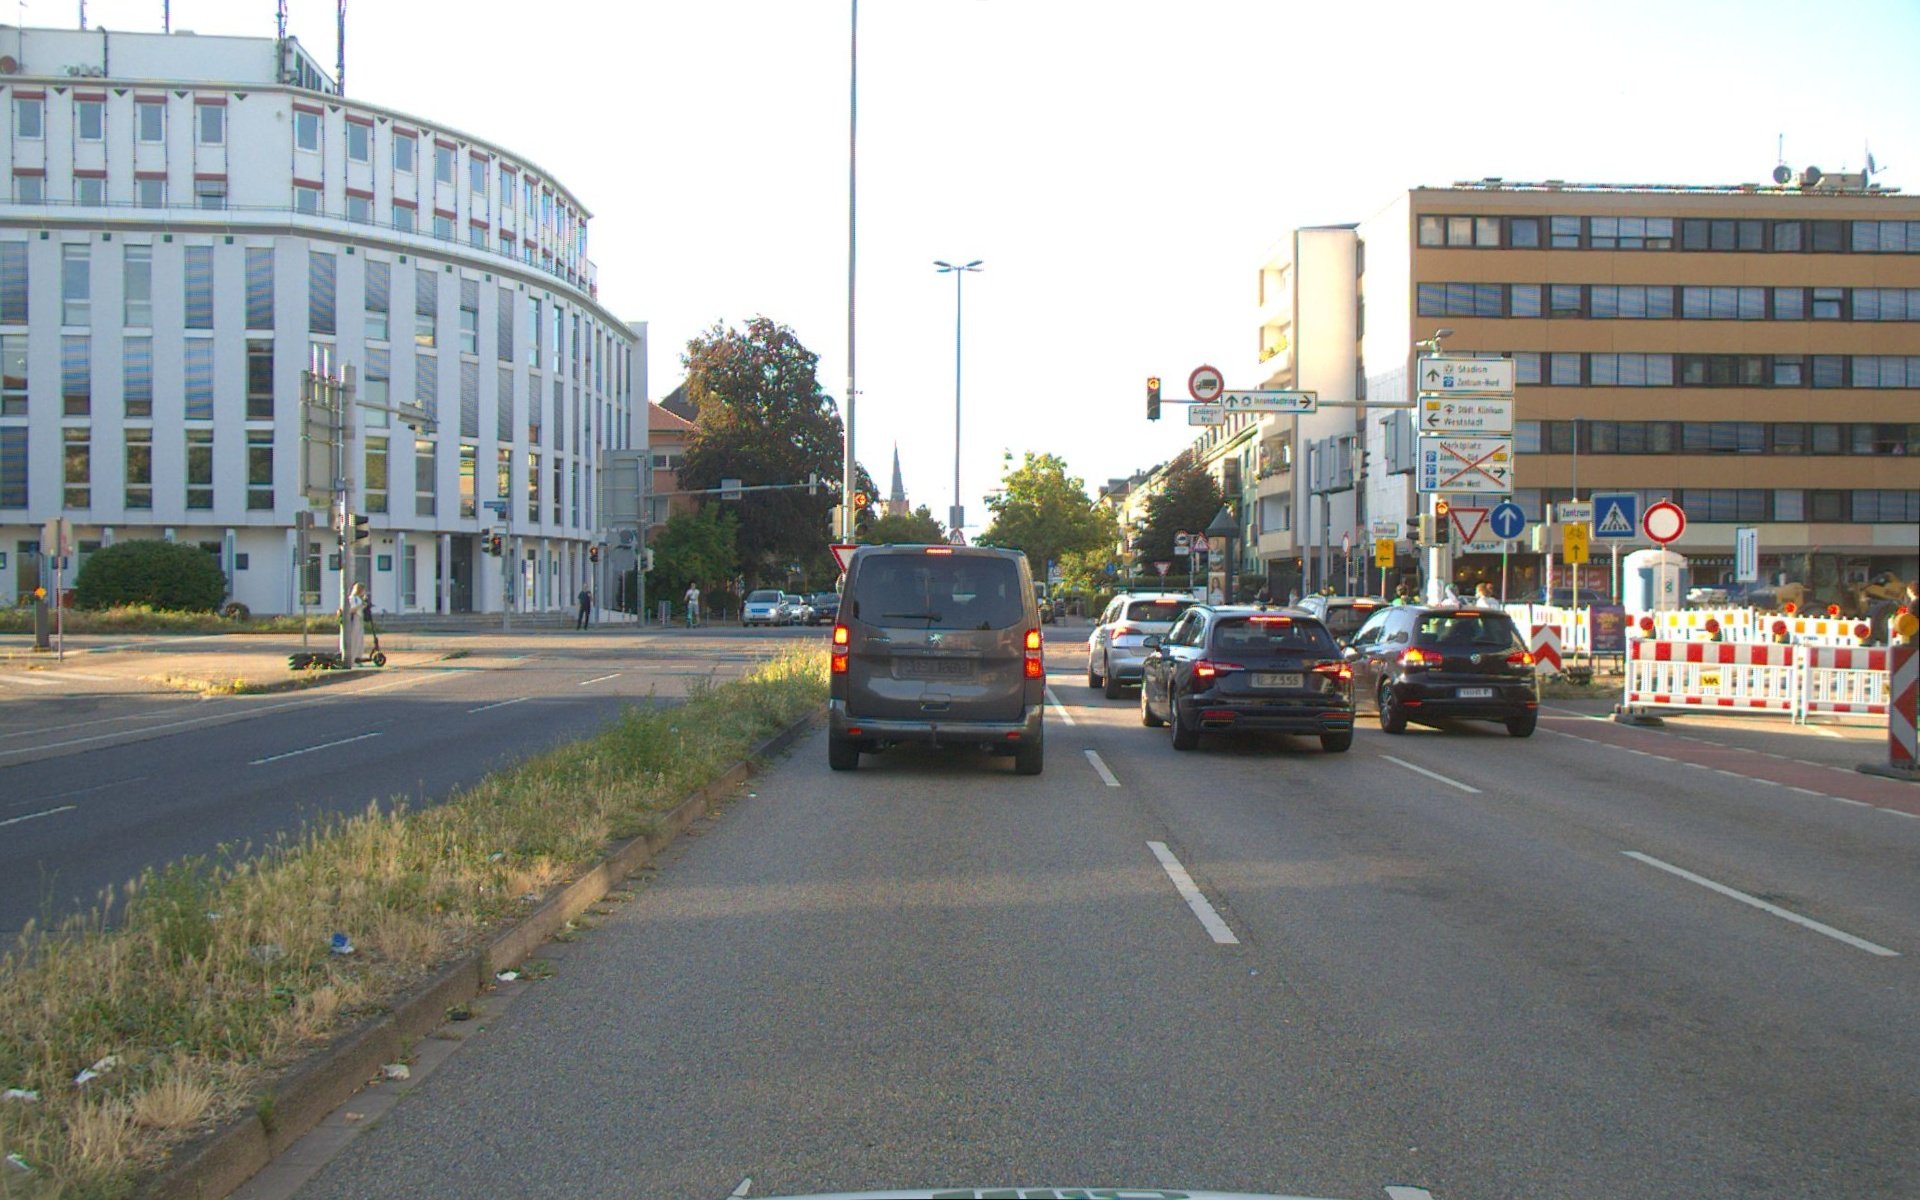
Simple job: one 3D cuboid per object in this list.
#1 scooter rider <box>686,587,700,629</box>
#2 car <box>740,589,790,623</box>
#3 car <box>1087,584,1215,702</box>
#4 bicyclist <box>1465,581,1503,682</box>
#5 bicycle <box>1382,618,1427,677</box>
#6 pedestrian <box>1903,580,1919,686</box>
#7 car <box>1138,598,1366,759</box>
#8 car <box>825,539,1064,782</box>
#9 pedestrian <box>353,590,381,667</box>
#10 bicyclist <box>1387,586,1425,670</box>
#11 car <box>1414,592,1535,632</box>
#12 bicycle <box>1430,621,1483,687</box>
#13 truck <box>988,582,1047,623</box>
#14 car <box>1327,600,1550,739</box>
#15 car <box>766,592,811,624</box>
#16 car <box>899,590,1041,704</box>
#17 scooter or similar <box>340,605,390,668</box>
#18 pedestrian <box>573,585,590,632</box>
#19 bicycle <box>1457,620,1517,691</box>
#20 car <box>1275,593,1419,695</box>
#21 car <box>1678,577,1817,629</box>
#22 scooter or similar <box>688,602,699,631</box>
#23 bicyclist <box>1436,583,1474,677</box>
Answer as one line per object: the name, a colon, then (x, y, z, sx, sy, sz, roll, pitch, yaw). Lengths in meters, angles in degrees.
scooter rider: (-11.118, 0.342, 68.909, 0.471, 1.727, 0.636, 0, 0, 0)
car: (-8.580, 0.237, 72.892, 1.818, 1.445, 3.999, 0, 0, -2)
car: (2.870, 0.600, 25.457, 1.497, 1.641, 3.745, 1, 0, 0)
bicyclist: (8.131, 0.477, 25.661, 0.432, 1.552, 0.482, 0, 0, 0)
bicycle: (8.245, 0.867, 30.707, 0.329, 1.025, 1.856, 0, 0, 0)
pedestrian: (17.040, 0.580, 29.273, 0.479, 1.866, 0.568, 0, 0, 43)
car: (2.965, 0.732, 17.620, 1.647, 1.446, 4.213, 1, 0, 0)
car: (-0.128, 0.474, 15.491, 1.868, 1.896, 4.526, 1, 0, 0)
pedestrian: (-11.879, 0.570, 33.136, 0.466, 1.532, 0.334, 0, 0, -12)
bicyclist: (8.291, 0.508, 30.755, 0.503, 1.552, 0.725, 0, 0, 0)
car: (19.062, 0.420, 61.349, 3.910, 1.445, 1.785, 0, 0, -7)
bicycle: (8.316, 0.885, 27.737, 0.329, 1.025, 1.856, 0, 0, 0)
truck: (3.015, 0.093, 87.981, 2.091, 2.123, 4.617, 0, 0, -12)
car: (5.717, 0.767, 20.204, 1.600, 1.474, 3.745, 1, 0, 0)
car: (-8.113, 0.357, 78.477, 1.818, 1.445, 3.999, 0, 0, -2)
car: (0.135, 0.637, 24.790, 1.953, 1.557, 4.000, 0, 0, 0)
scooter or similar: (-11.858, 0.723, 32.972, 0.877, 1.255, 0.370, 0, 0, -11)
pedestrian: (-14.081, 0.308, 61.584, 0.615, 1.752, 0.669, 0, 0, -14)
bicycle: (8.144, 0.837, 25.598, 0.329, 1.025, 1.856, 0, 0, 0)
car: (5.982, 0.636, 25.850, 1.474, 1.474, 3.305, 0, 0, 0)
car: (28.550, 0.105, 60.059, 4.129, 1.849, 2.000, 0, 0, 0)
scooter or similar: (-11.084, 0.681, 68.795, 0.279, 1.209, 1.169, 0, 0, 0)
bicyclist: (8.323, 0.493, 27.819, 0.432, 1.552, 0.725, 0, 0, 0)
